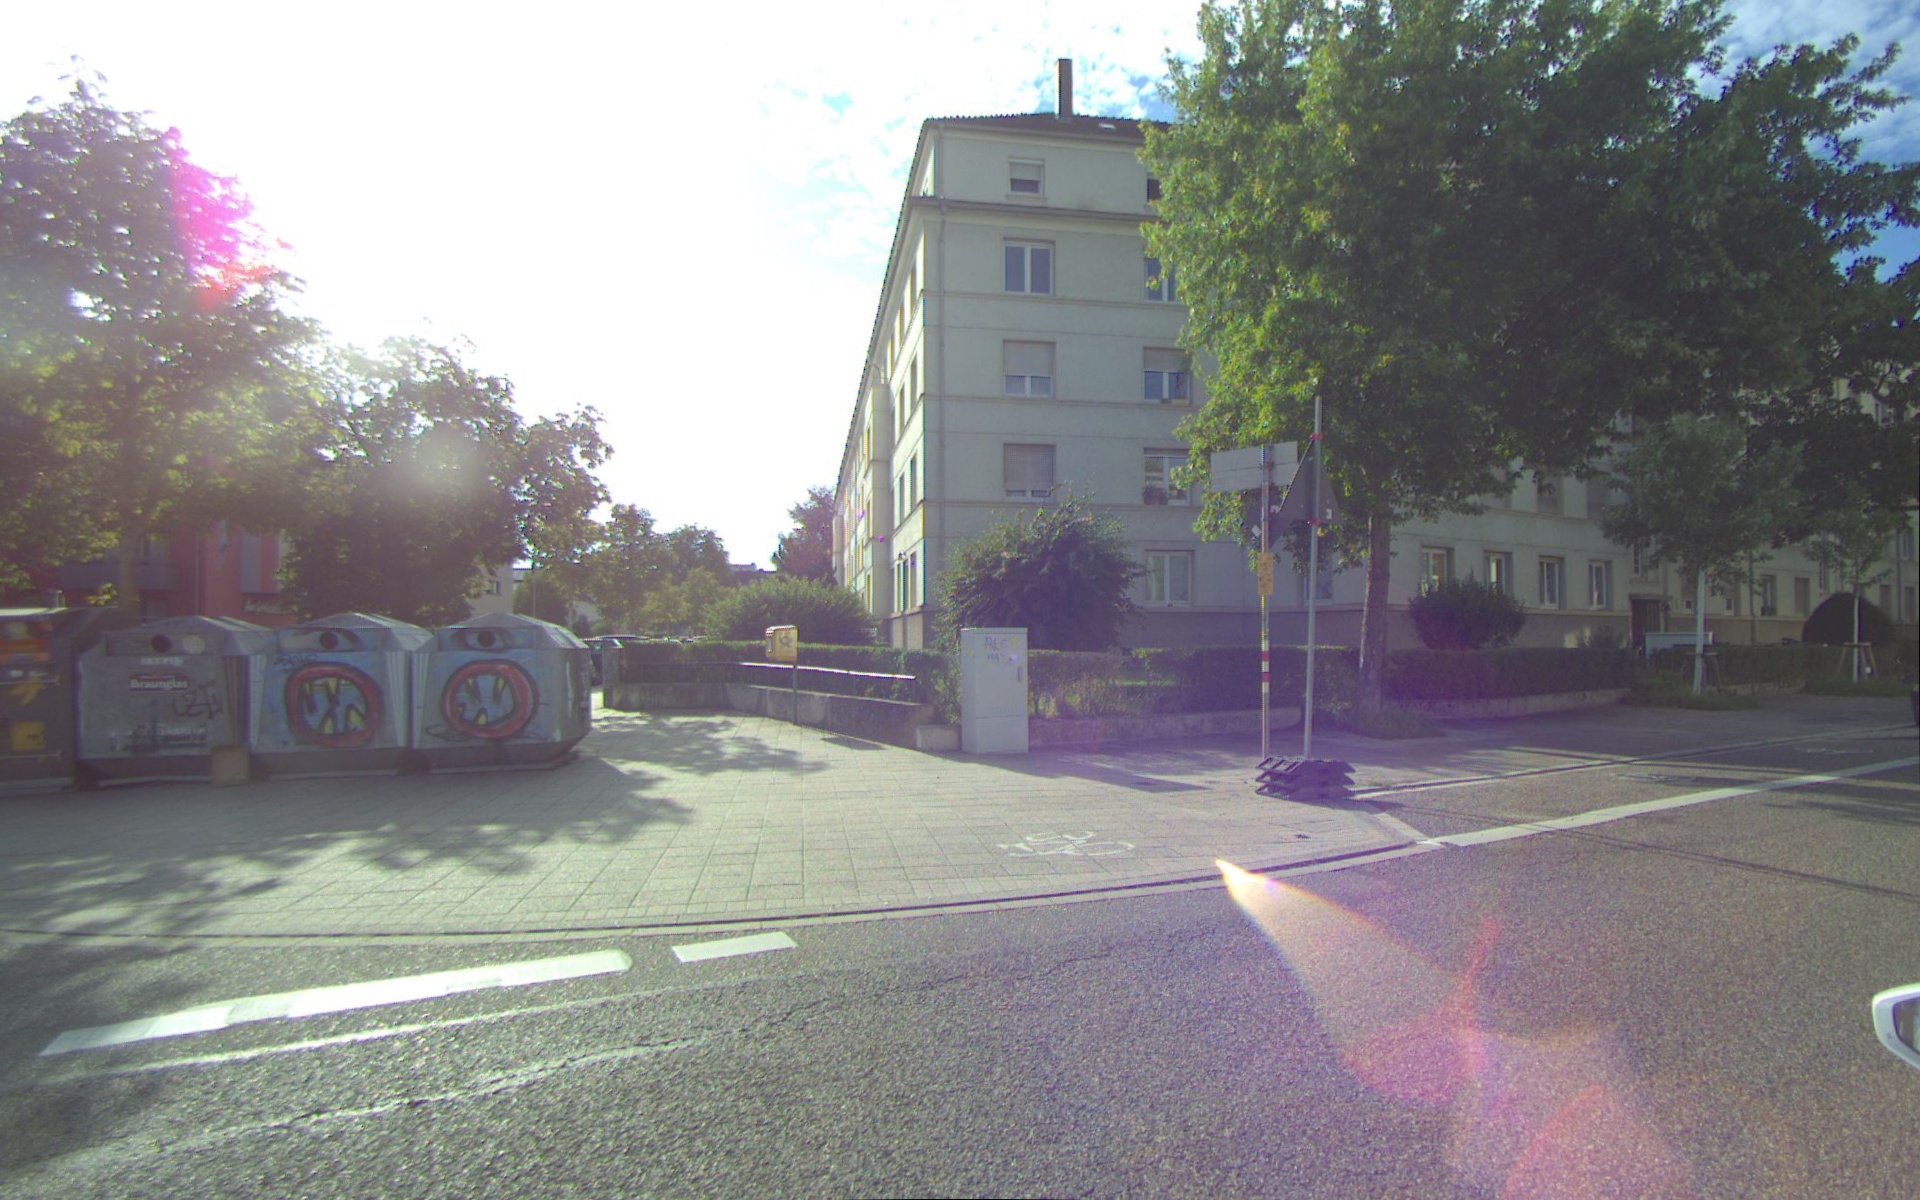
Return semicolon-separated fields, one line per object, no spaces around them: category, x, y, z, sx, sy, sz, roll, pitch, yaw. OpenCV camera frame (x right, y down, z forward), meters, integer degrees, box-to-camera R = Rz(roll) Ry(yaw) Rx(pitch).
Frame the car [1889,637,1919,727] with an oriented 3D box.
car;18.270;1.387;17.599;4.374;1.505;1.916;2;-4;-34
